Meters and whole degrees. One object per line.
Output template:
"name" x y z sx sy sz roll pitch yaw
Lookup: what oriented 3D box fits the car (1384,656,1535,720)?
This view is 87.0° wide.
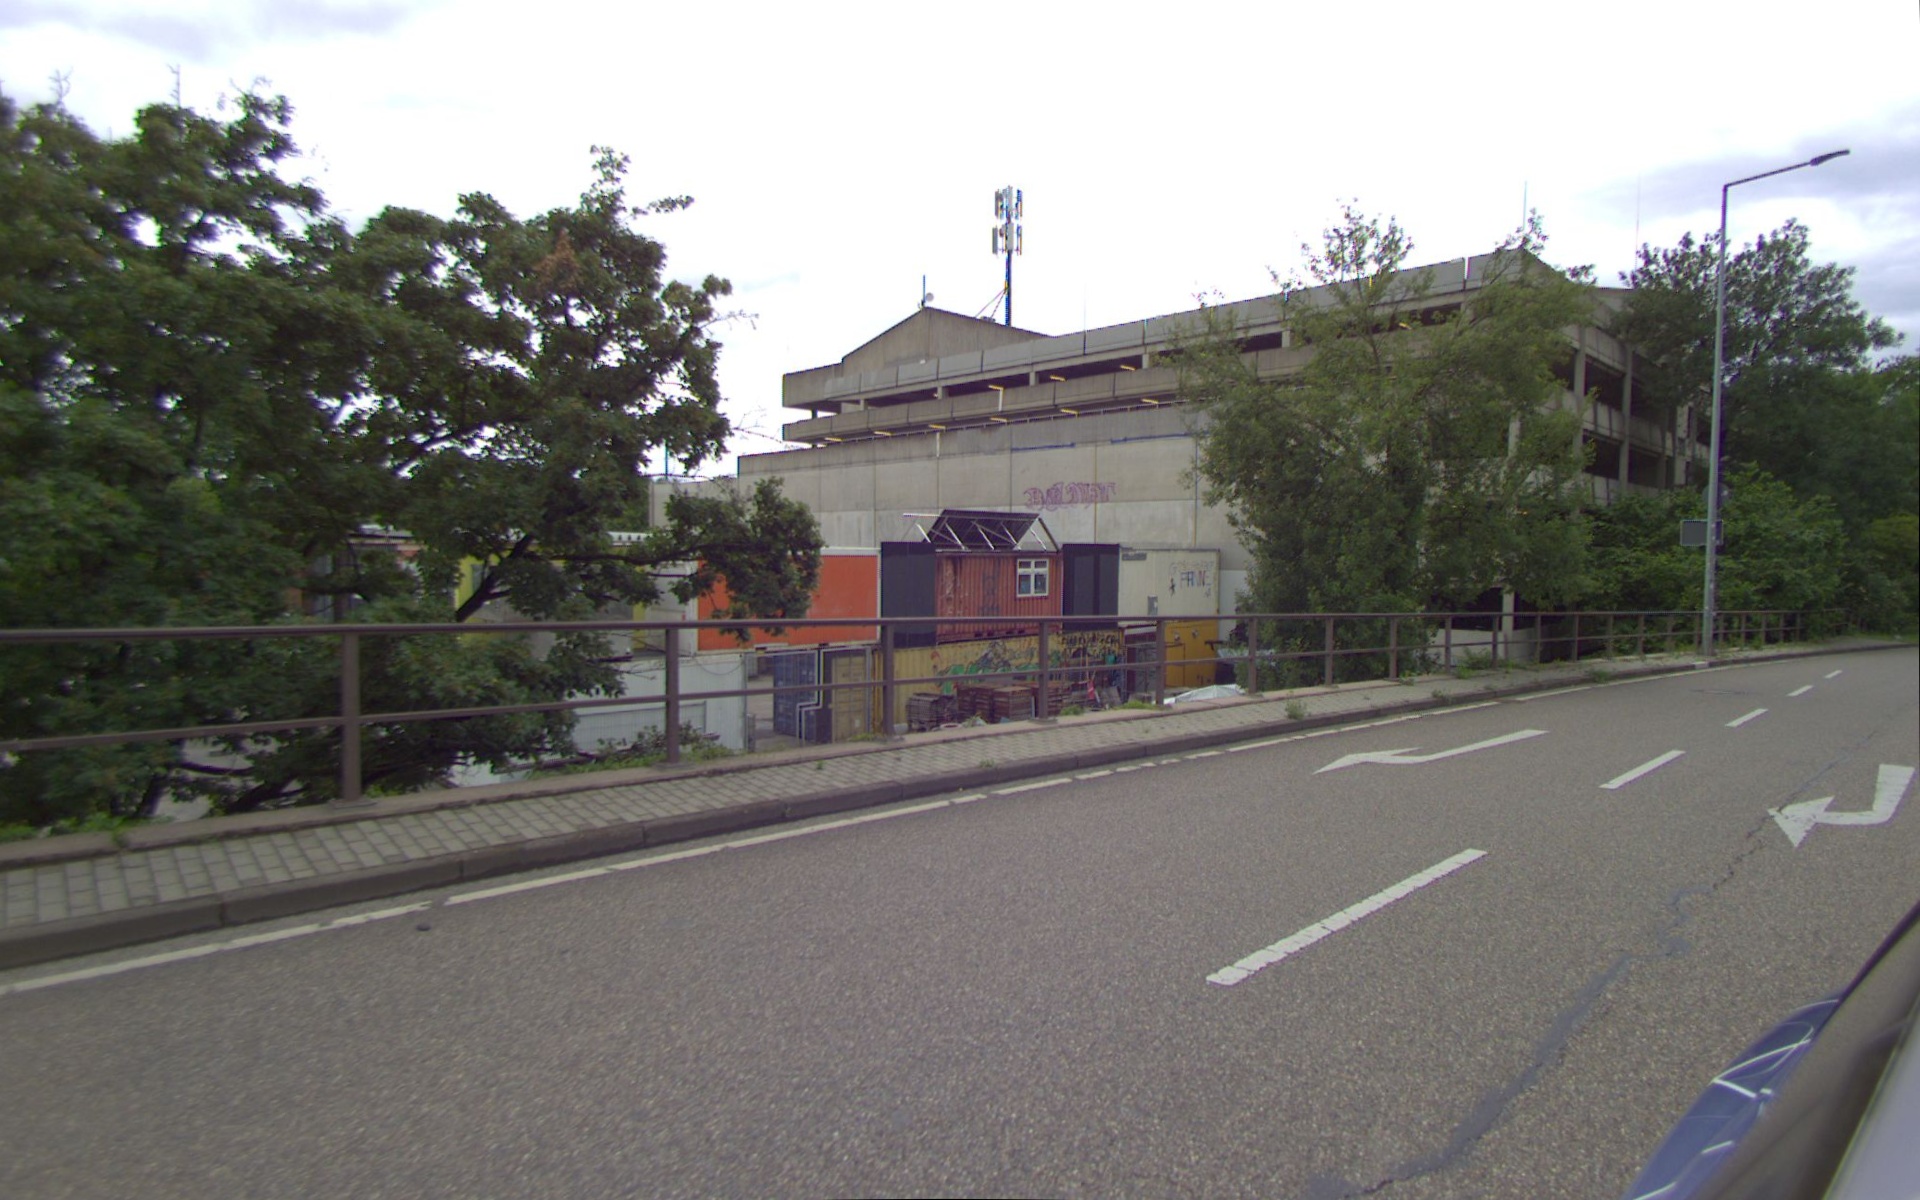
"car" 18.841 3.250 38.321 4.747 1.806 1.968 2 4 45
